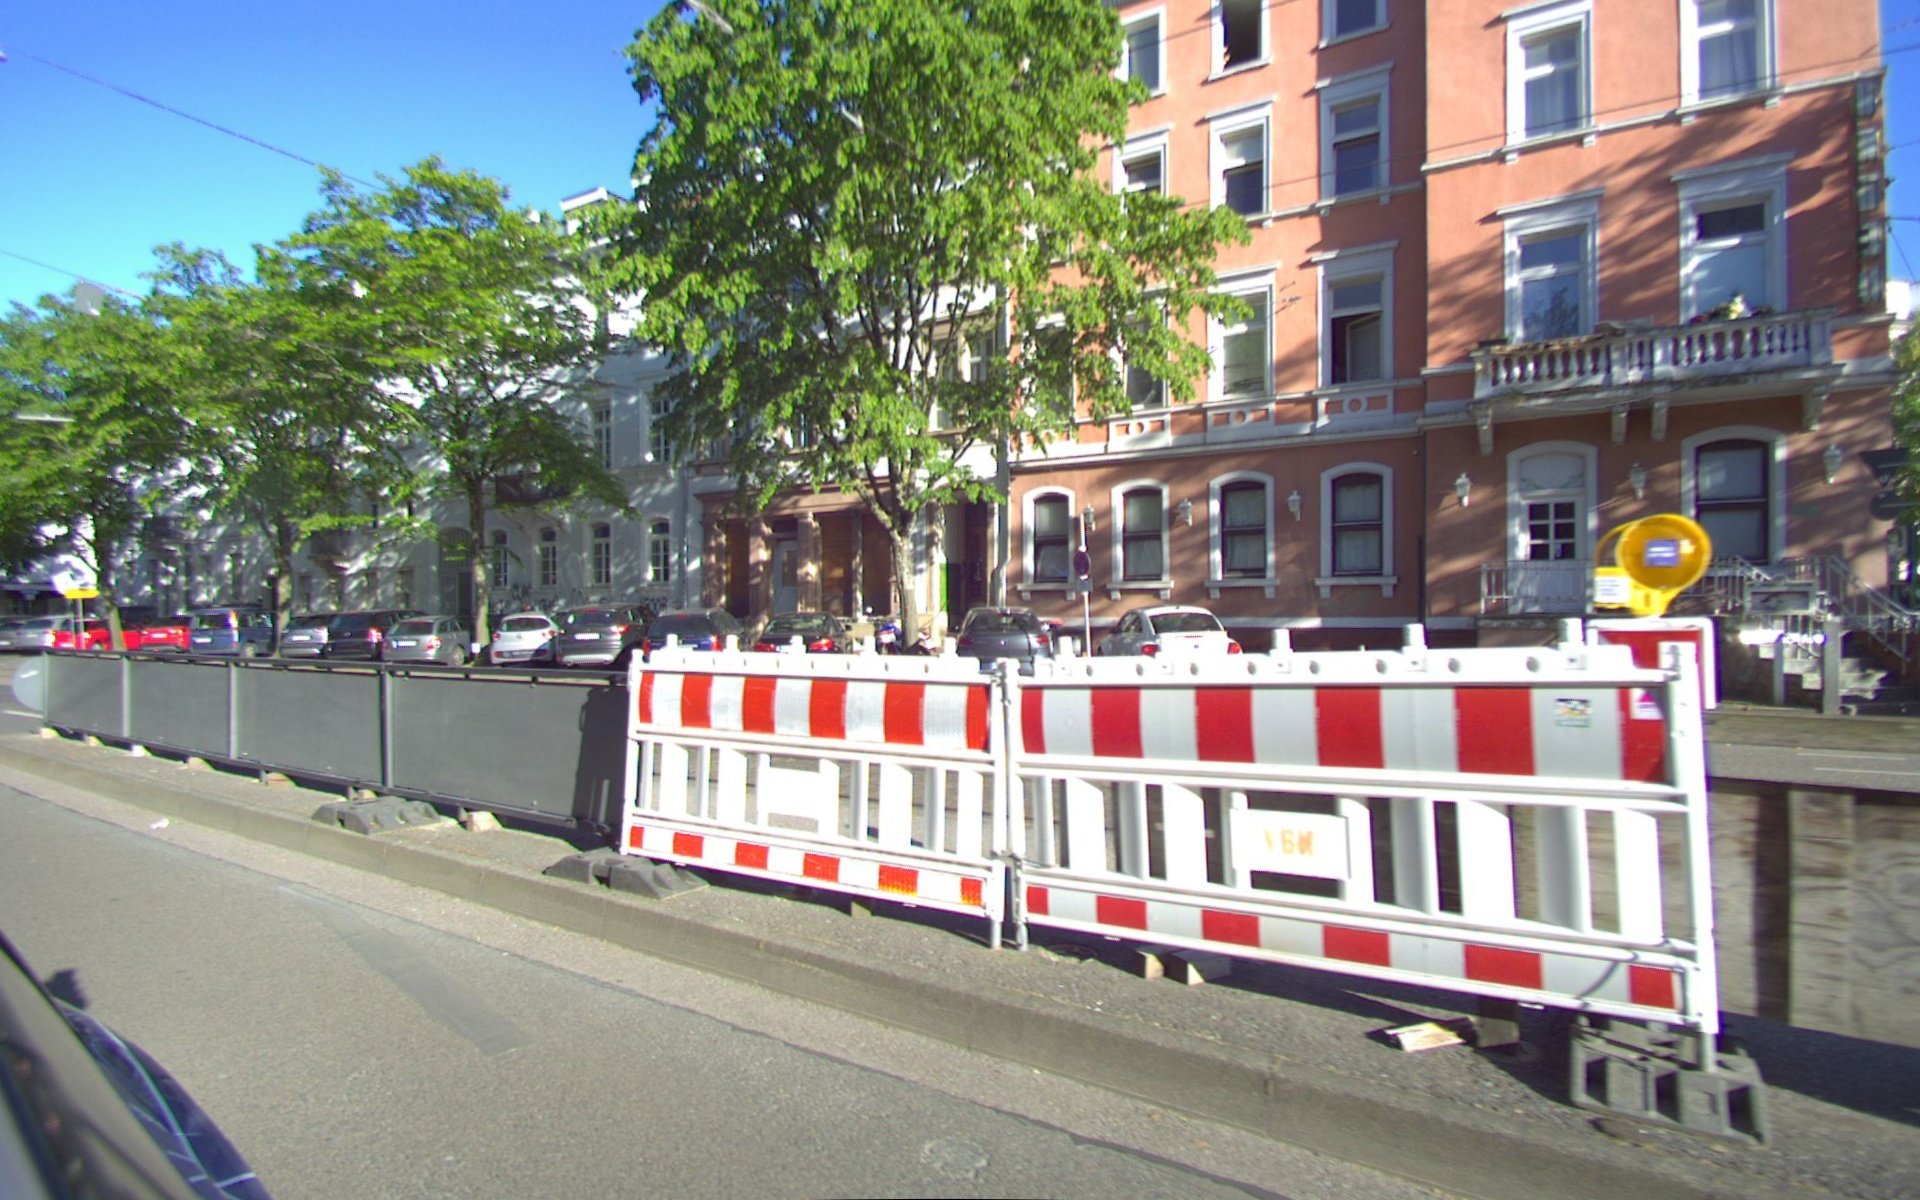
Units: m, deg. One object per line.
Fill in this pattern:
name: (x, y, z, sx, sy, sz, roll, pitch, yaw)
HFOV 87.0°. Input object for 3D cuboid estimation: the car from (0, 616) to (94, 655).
car: (-40.866, 1.548, 44.880, 1.723, 1.531, 3.768, -1, 1, -2)

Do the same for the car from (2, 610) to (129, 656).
car: (-38.340, 1.357, 43.543, 1.759, 1.737, 4.202, -1, 1, -1)

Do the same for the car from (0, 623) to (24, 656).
car: (-46.326, 1.922, 47.151, 1.757, 1.497, 4.000, 0, 1, 0)

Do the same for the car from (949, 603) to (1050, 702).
car: (0.679, 0.894, 19.102, 1.666, 1.519, 3.922, -2, 1, 0)

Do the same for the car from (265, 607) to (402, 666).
car: (-19.389, 1.085, 31.517, 1.750, 1.666, 3.868, 0, 1, 3)

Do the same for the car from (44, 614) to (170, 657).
car: (-35.593, 1.443, 42.396, 1.618, 1.569, 4.197, -1, 1, 3)

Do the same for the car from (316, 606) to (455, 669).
car: (-16.764, 1.038, 29.759, 1.750, 1.666, 3.867, 0, 1, 3)

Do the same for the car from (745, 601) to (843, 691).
car: (-3.412, 0.883, 21.389, 1.611, 1.629, 3.989, -1, 1, -4)

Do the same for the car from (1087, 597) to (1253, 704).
car: (3.509, 0.774, 17.647, 1.709, 1.533, 3.921, -2, 1, -5)

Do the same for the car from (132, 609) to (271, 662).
car: (-27.505, 1.243, 36.877, 1.720, 1.649, 4.198, -2, 1, 3)

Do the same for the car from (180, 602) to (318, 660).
car: (-24.833, 1.029, 35.544, 1.762, 1.812, 4.198, 0, 1, 3)

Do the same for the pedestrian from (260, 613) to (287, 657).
pedestrian: (-27.029, 1.353, 39.830, 0.869, 1.709, 0.636, -1, -1, 37)

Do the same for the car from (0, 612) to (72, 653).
car: (-43.363, 1.472, 45.984, 1.926, 1.727, 4.349, -1, 1, 8)

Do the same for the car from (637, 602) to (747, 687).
car: (-5.927, 0.922, 22.799, 1.611, 1.629, 3.989, -1, 1, -4)

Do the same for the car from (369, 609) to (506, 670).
car: (-14.568, 1.060, 28.463, 1.747, 1.496, 3.819, 0, 1, 3)

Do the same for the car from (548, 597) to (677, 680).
car: (-8.422, 0.862, 24.945, 1.684, 1.735, 4.286, 0, 2, 0)

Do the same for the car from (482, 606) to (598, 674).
car: (-11.049, 1.006, 26.843, 1.684, 1.544, 3.281, -1, 2, 0)

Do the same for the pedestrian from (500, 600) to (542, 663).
pedestrian: (-12.539, 0.901, 28.914, 0.802, 1.769, 0.760, -1, -1, 21)

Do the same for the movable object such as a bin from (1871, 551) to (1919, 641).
movable object such as a bin: (33.834, -0.104, 33.566, 5.264, 2.952, 3.898, 0, -1, 44)

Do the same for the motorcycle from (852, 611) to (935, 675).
motorcycle: (-1.466, 0.904, 21.968, 1.928, 1.289, 0.671, 1, 1, 43)
